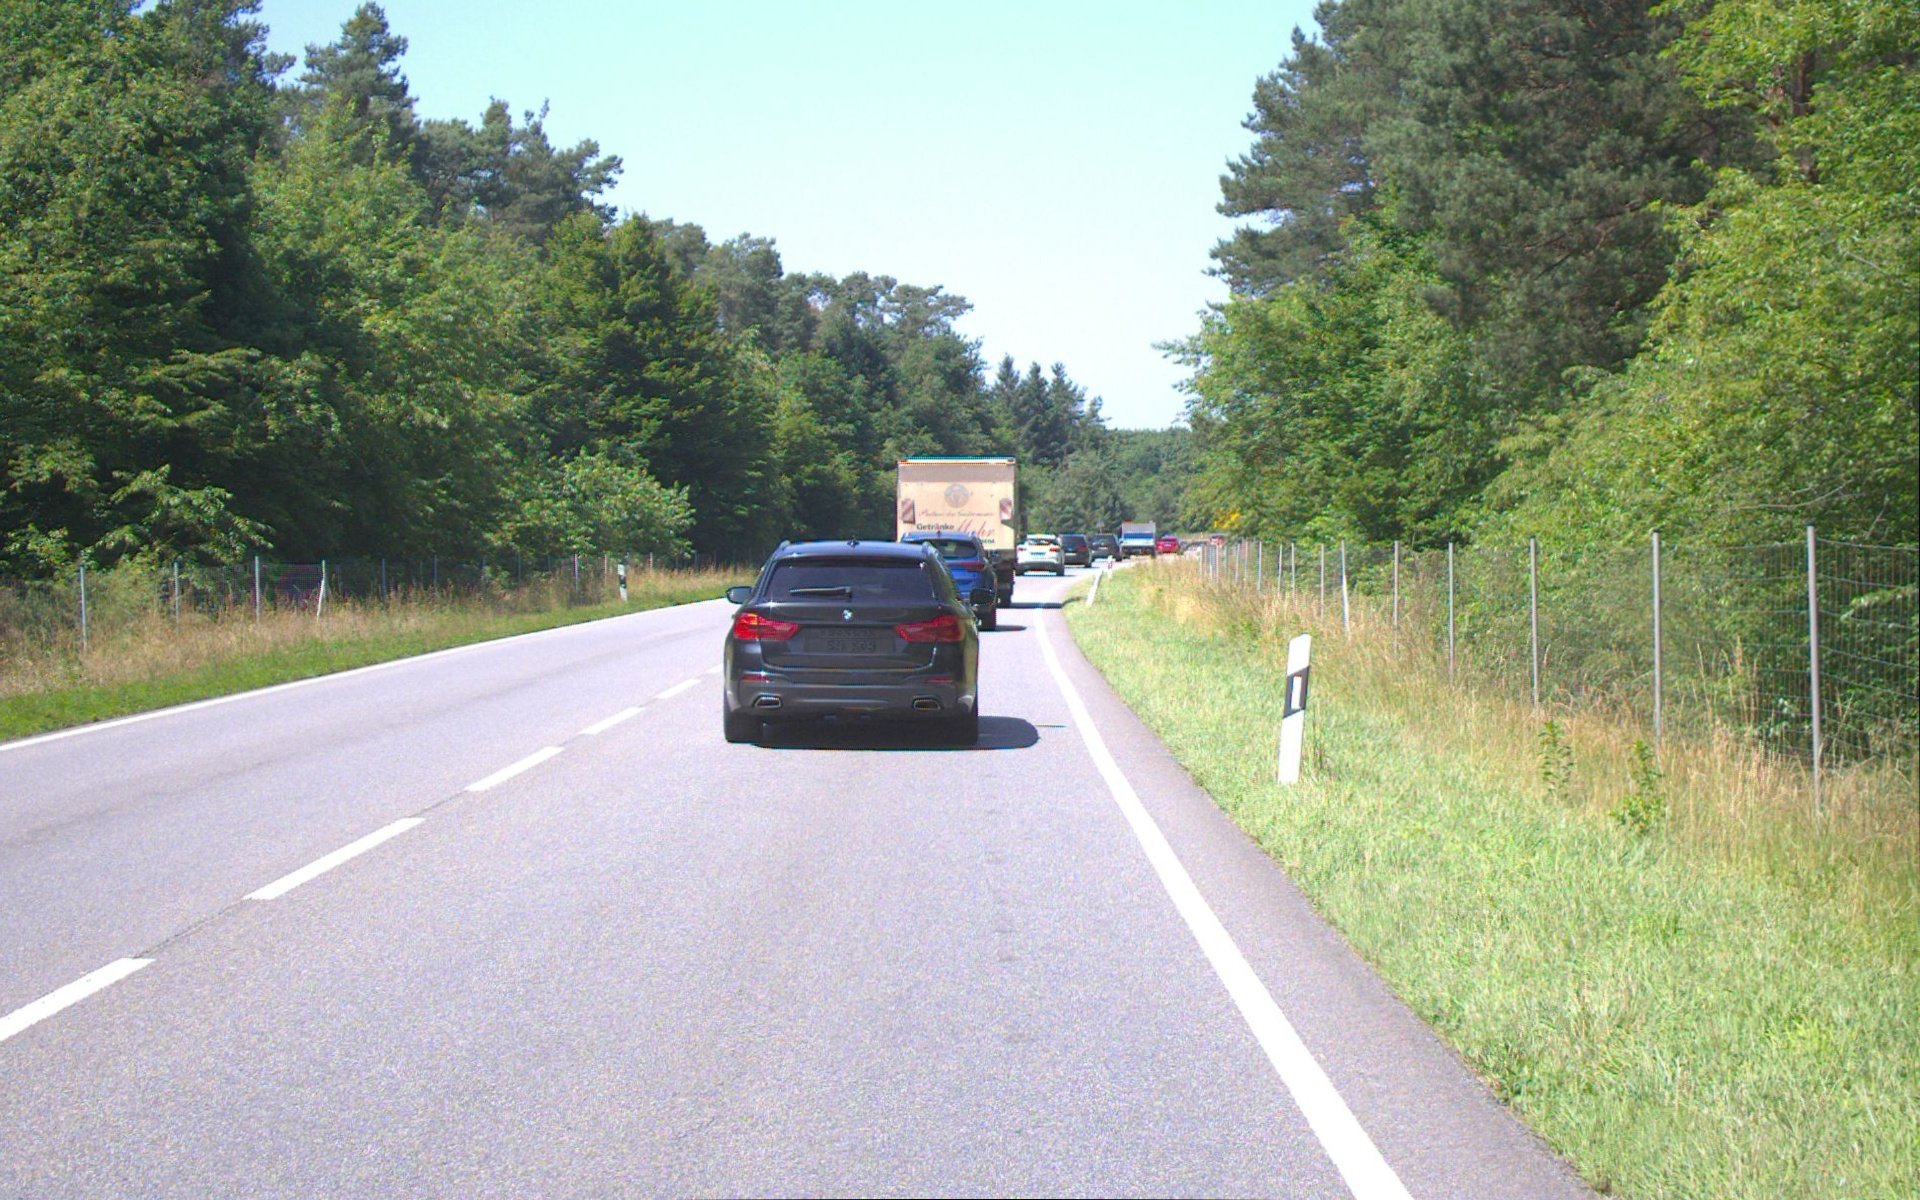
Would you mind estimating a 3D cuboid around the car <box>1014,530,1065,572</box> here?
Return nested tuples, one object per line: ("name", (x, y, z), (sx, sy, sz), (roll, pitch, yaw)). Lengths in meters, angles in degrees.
("car", (3.118, -1.963, 135.822), (1.863, 1.600, 4.000), (-1, 1, -1))

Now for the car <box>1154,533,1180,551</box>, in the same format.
("car", (15.467, -4.333, 256.797), (1.795, 1.349, 3.928), (0, 1, 6))

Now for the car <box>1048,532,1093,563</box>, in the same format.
("car", (5.335, -2.546, 166.792), (1.993, 1.415, 4.000), (1, 1, -1))

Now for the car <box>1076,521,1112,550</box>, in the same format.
("car", (7.750, -3.720, 198.920), (1.994, 1.631, 4.000), (-1, 1, 2))

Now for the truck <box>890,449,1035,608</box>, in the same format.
("truck", (-0.006, -1.607, 76.577), (2.965, 3.376, 6.439), (0, 1, -2))

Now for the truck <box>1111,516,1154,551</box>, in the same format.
("truck", (11.205, -4.314, 222.720), (2.564, 2.194, 4.973), (-1, 2, 5))

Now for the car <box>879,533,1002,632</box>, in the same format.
("car", (-0.330, -0.319, 57.221), (1.947, 1.536, 4.000), (-1, 1, -1))

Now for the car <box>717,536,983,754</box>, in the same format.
("car", (-0.857, 0.276, 25.939), (1.820, 1.465, 4.001), (1, 1, -3))
